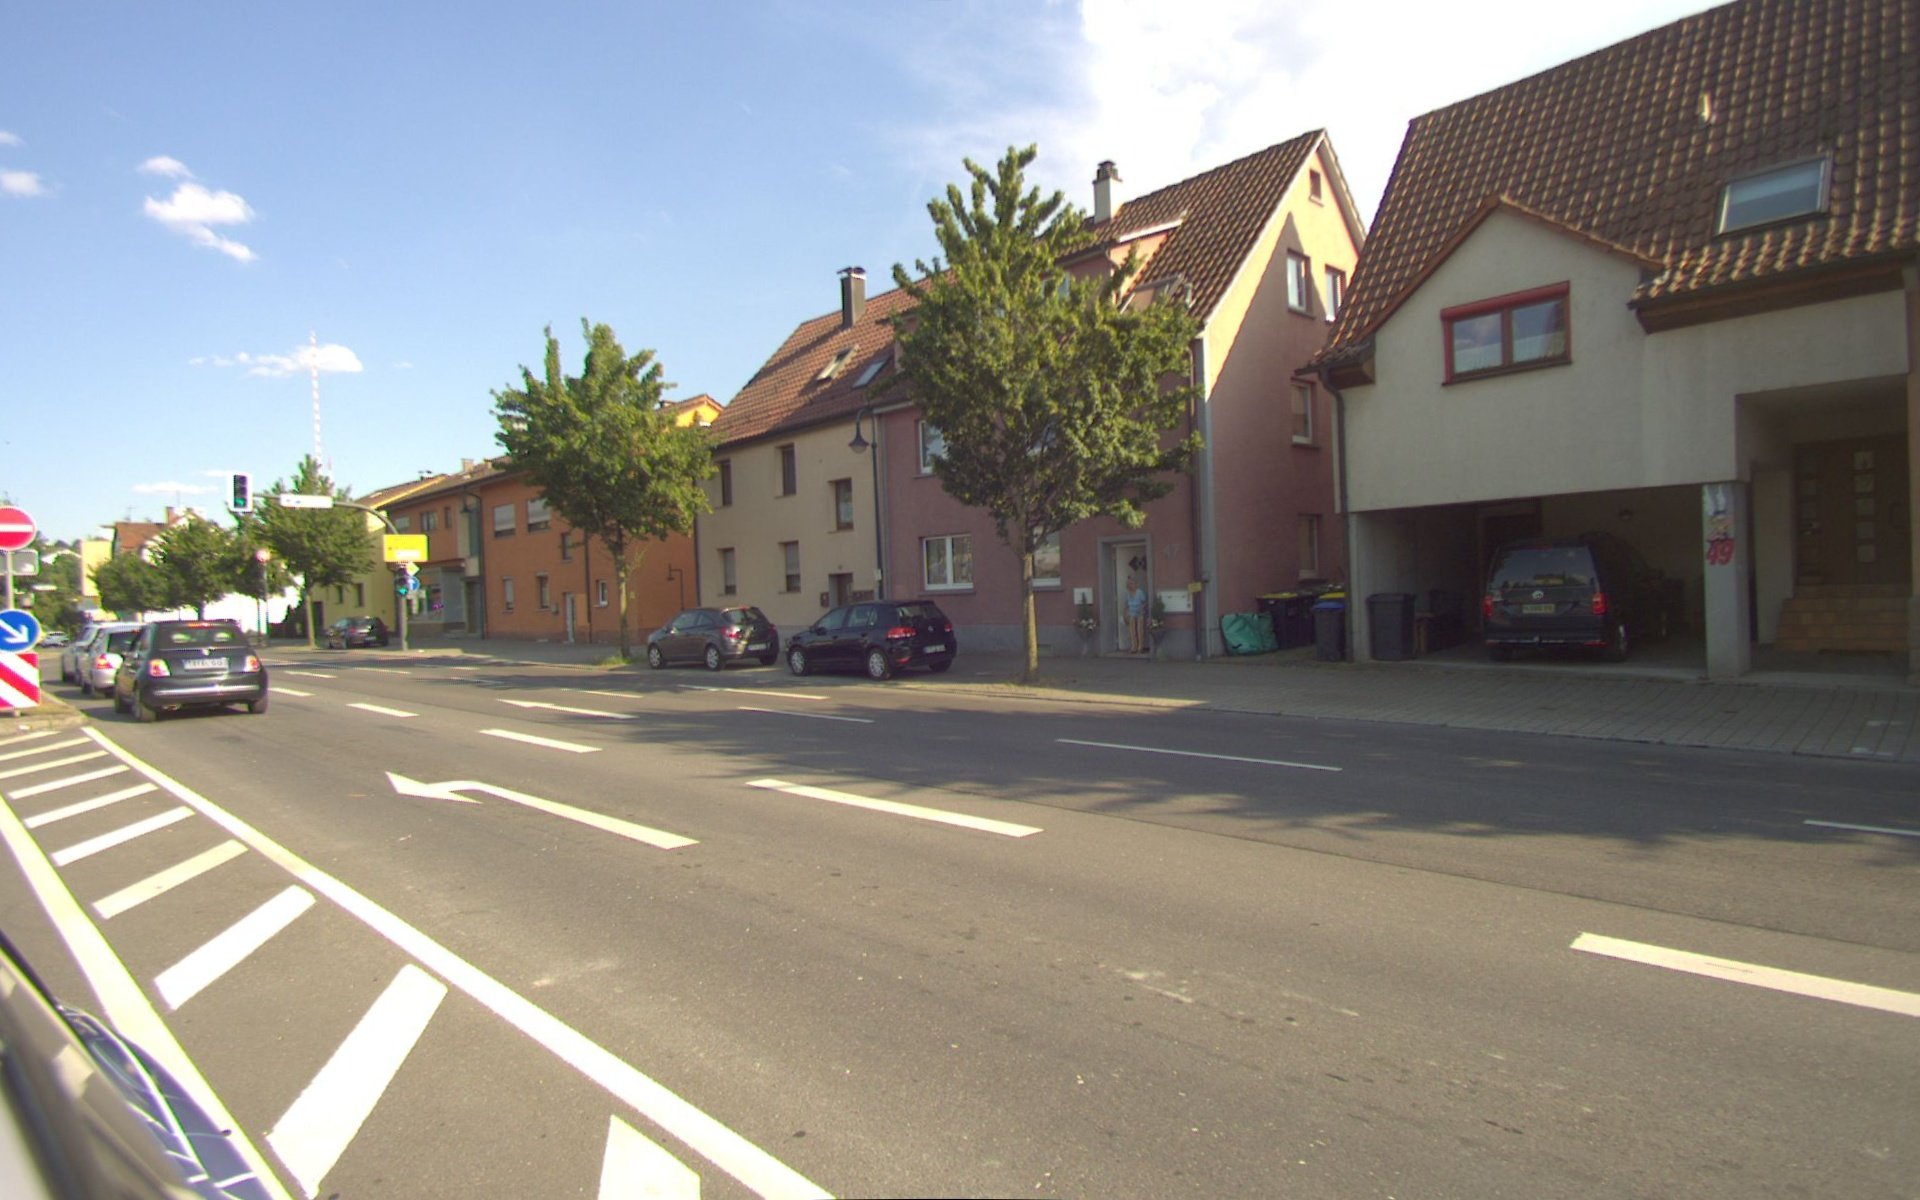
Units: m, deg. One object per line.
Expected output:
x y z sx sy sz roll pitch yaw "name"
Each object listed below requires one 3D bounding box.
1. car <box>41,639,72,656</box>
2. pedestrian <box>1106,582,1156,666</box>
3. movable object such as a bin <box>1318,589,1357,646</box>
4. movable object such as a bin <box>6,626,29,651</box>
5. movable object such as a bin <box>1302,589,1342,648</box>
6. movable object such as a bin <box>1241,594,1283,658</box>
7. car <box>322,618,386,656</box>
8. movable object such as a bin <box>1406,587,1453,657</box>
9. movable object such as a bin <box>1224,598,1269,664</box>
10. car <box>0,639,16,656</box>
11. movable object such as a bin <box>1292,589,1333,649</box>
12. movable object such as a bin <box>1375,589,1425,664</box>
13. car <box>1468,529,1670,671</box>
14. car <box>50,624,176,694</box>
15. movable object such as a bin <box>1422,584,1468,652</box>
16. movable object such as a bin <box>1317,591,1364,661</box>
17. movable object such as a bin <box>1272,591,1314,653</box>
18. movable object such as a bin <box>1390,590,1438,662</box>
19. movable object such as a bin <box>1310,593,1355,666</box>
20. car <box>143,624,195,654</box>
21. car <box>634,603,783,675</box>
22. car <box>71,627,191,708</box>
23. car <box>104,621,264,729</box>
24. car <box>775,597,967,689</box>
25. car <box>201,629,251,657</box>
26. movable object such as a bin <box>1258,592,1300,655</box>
-83.968 4.390 94.002 3.999 1.422 1.738 -3 -1 43 "car"
3.355 0.470 19.860 0.774 1.619 0.716 -2 -1 26 "pedestrian"
7.679 0.358 20.599 0.498 1.151 0.546 -1 -1 -44 "movable object such as a bin"
-96.435 3.883 103.531 4.979 2.480 1.535 -2 -1 44 "movable object such as a bin"
7.197 0.369 20.130 0.498 1.151 0.546 -1 -1 -44 "movable object such as a bin"
5.534 0.476 18.553 0.498 1.151 0.530 -1 -1 -44 "movable object such as a bin"
-26.939 1.658 44.922 1.574 1.449 3.778 -7 3 -43 "car"
7.941 0.369 17.124 0.575 1.151 0.560 -3 -1 38 "movable object such as a bin"
5.144 0.548 18.176 0.544 1.151 0.530 -1 -1 -44 "movable object such as a bin"
-85.610 4.274 90.320 3.999 1.422 1.738 -3 -1 43 "car"
6.874 0.375 19.737 0.498 1.151 0.546 -1 -1 -44 "movable object such as a bin"
6.945 0.420 15.969 0.575 1.151 0.560 -3 -1 38 "movable object such as a bin"
9.409 -0.073 15.512 1.780 1.895 3.778 -2 2 45 "car"
-20.969 1.415 24.982 4.566 1.500 1.815 -3 -1 43 "car"
8.423 0.318 17.578 0.575 1.151 0.560 -3 -1 38 "movable object such as a bin"
6.391 0.432 17.003 0.540 1.146 0.504 -3 -1 43 "movable object such as a bin"
6.362 0.417 19.336 0.498 1.151 0.546 -1 -1 -44 "movable object such as a bin"
7.463 0.423 16.634 0.575 1.151 0.560 -3 -1 38 "movable object such as a bin"
6.056 0.474 16.447 0.501 1.146 0.470 -3 -1 43 "movable object such as a bin"
-45.566 2.226 58.253 4.413 1.624 1.667 -2 -1 43 "car"
-6.041 0.919 24.091 3.885 1.522 1.496 -3 1 42 "car"
-16.844 1.295 20.509 1.571 1.438 3.580 -1 -1 -45 "car"
-12.365 1.128 16.061 3.507 1.473 1.515 -3 -1 44 "car"
-1.839 0.815 20.031 1.646 1.543 3.906 -5 2 -43 "car"
-45.276 2.649 62.393 1.834 1.607 4.462 -1 -1 -45 "car"
5.982 0.445 18.954 0.498 1.151 0.546 -1 -1 -44 "movable object such as a bin"
